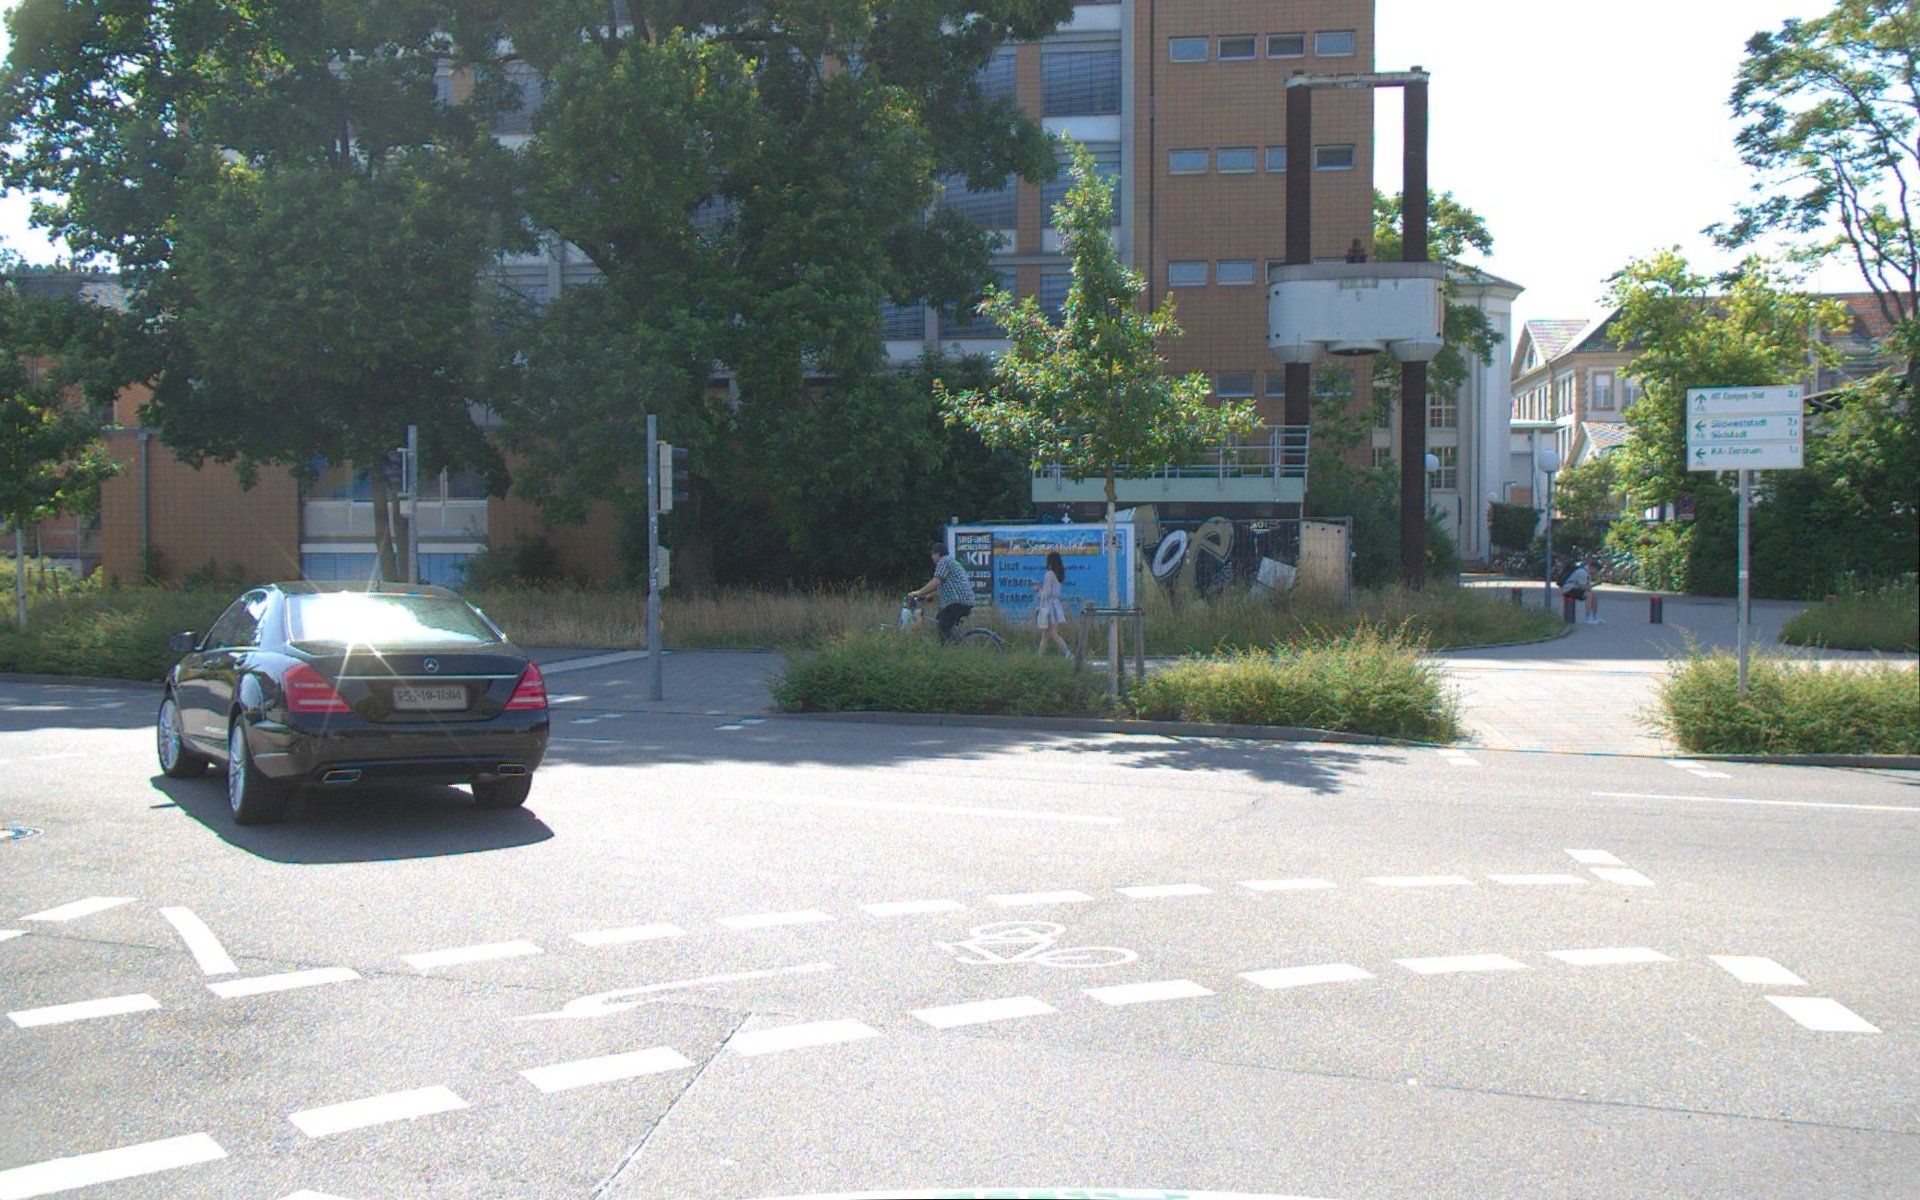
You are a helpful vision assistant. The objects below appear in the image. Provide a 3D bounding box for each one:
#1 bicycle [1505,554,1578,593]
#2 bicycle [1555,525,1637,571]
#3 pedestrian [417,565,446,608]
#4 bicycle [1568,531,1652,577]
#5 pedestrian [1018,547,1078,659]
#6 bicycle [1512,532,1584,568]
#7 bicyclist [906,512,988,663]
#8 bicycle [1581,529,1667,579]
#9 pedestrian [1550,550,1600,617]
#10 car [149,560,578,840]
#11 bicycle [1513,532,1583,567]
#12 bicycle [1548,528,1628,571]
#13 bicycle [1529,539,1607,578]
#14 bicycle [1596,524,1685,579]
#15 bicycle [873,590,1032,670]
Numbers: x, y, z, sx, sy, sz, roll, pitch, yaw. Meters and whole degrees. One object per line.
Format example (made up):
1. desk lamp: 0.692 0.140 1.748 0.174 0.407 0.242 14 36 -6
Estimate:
1. bicycle: 24.204 -1.112 68.854 2.762 1.586 0.842 0 2 8
2. bicycle: 24.011 -1.959 62.461 2.762 1.688 0.842 0 3 8
3. pedestrian: -11.209 -0.290 35.074 0.419 0.907 0.393 0 1 18
4. bicycle: 24.005 -1.698 61.137 2.762 1.678 0.842 0 2 8
5. pedestrian: 1.281 0.034 23.996 0.794 1.607 0.693 0 1 11
6. bicycle: 25.138 -2.136 70.730 2.762 1.526 0.842 0 2 8
7. bicyclist: -0.165 -0.169 21.482 0.839 1.911 0.688 -1 1 19
8. bicycle: 24.073 -1.676 60.001 2.762 1.774 0.842 0 2 8
9. pedestrian: 11.766 -0.323 31.680 0.776 1.234 0.758 3 2 15
10. car: -4.448 0.540 11.819 1.842 1.556 4.659 -2 1 -33
11. bicycle: 25.654 -2.215 72.146 2.762 1.506 0.842 0 2 8
12. bicycle: 24.126 -1.931 63.559 2.762 1.614 0.842 0 2 8
13. bicycle: 24.135 -1.660 65.703 2.762 1.533 0.842 0 2 8
14. bicycle: 23.731 -1.683 57.703 2.762 1.868 0.842 0 2 8
15. bicycle: -0.093 0.395 21.495 1.911 0.963 0.695 -2 1 18
